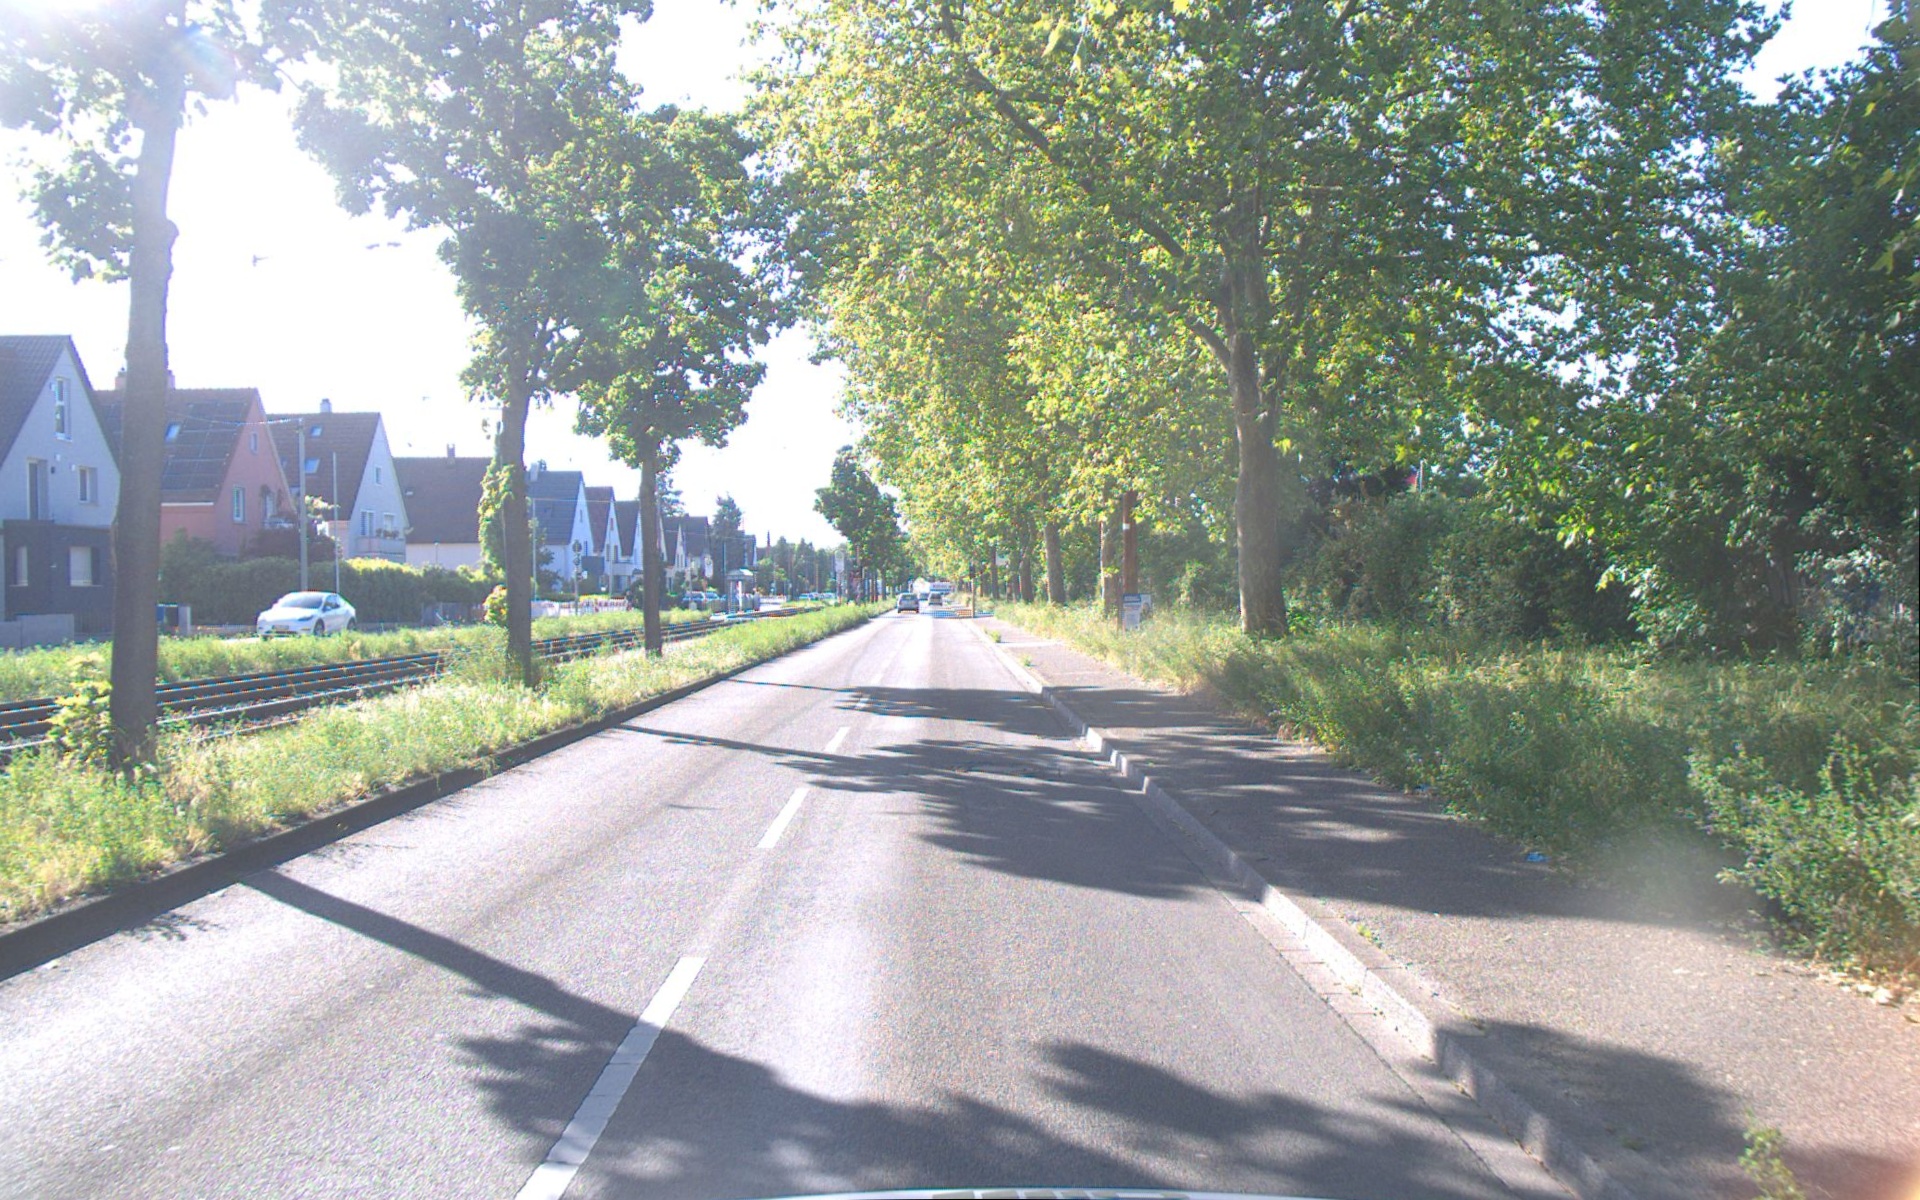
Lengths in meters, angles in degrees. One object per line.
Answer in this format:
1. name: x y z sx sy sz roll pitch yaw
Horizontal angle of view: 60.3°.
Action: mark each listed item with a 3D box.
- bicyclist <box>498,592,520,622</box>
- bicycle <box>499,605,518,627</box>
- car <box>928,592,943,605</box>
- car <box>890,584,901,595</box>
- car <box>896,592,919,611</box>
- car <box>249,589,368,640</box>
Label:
1. bicyclist: -19.731 0.317 72.299 0.783 1.300 0.736 1 0 -4
2. bicycle: -19.729 0.691 72.237 0.432 0.917 2.059 1 0 -5
3. car: -2.851 -0.174 192.290 1.725 1.539 3.276 1 0 0
4. car: -8.955 -1.439 229.915 1.496 1.480 3.286 1 0 0
5. car: -3.903 0.123 123.620 1.703 1.425 3.276 1 0 -1
6. car: -21.916 0.472 55.850 1.952 1.627 4.733 1 0 2
